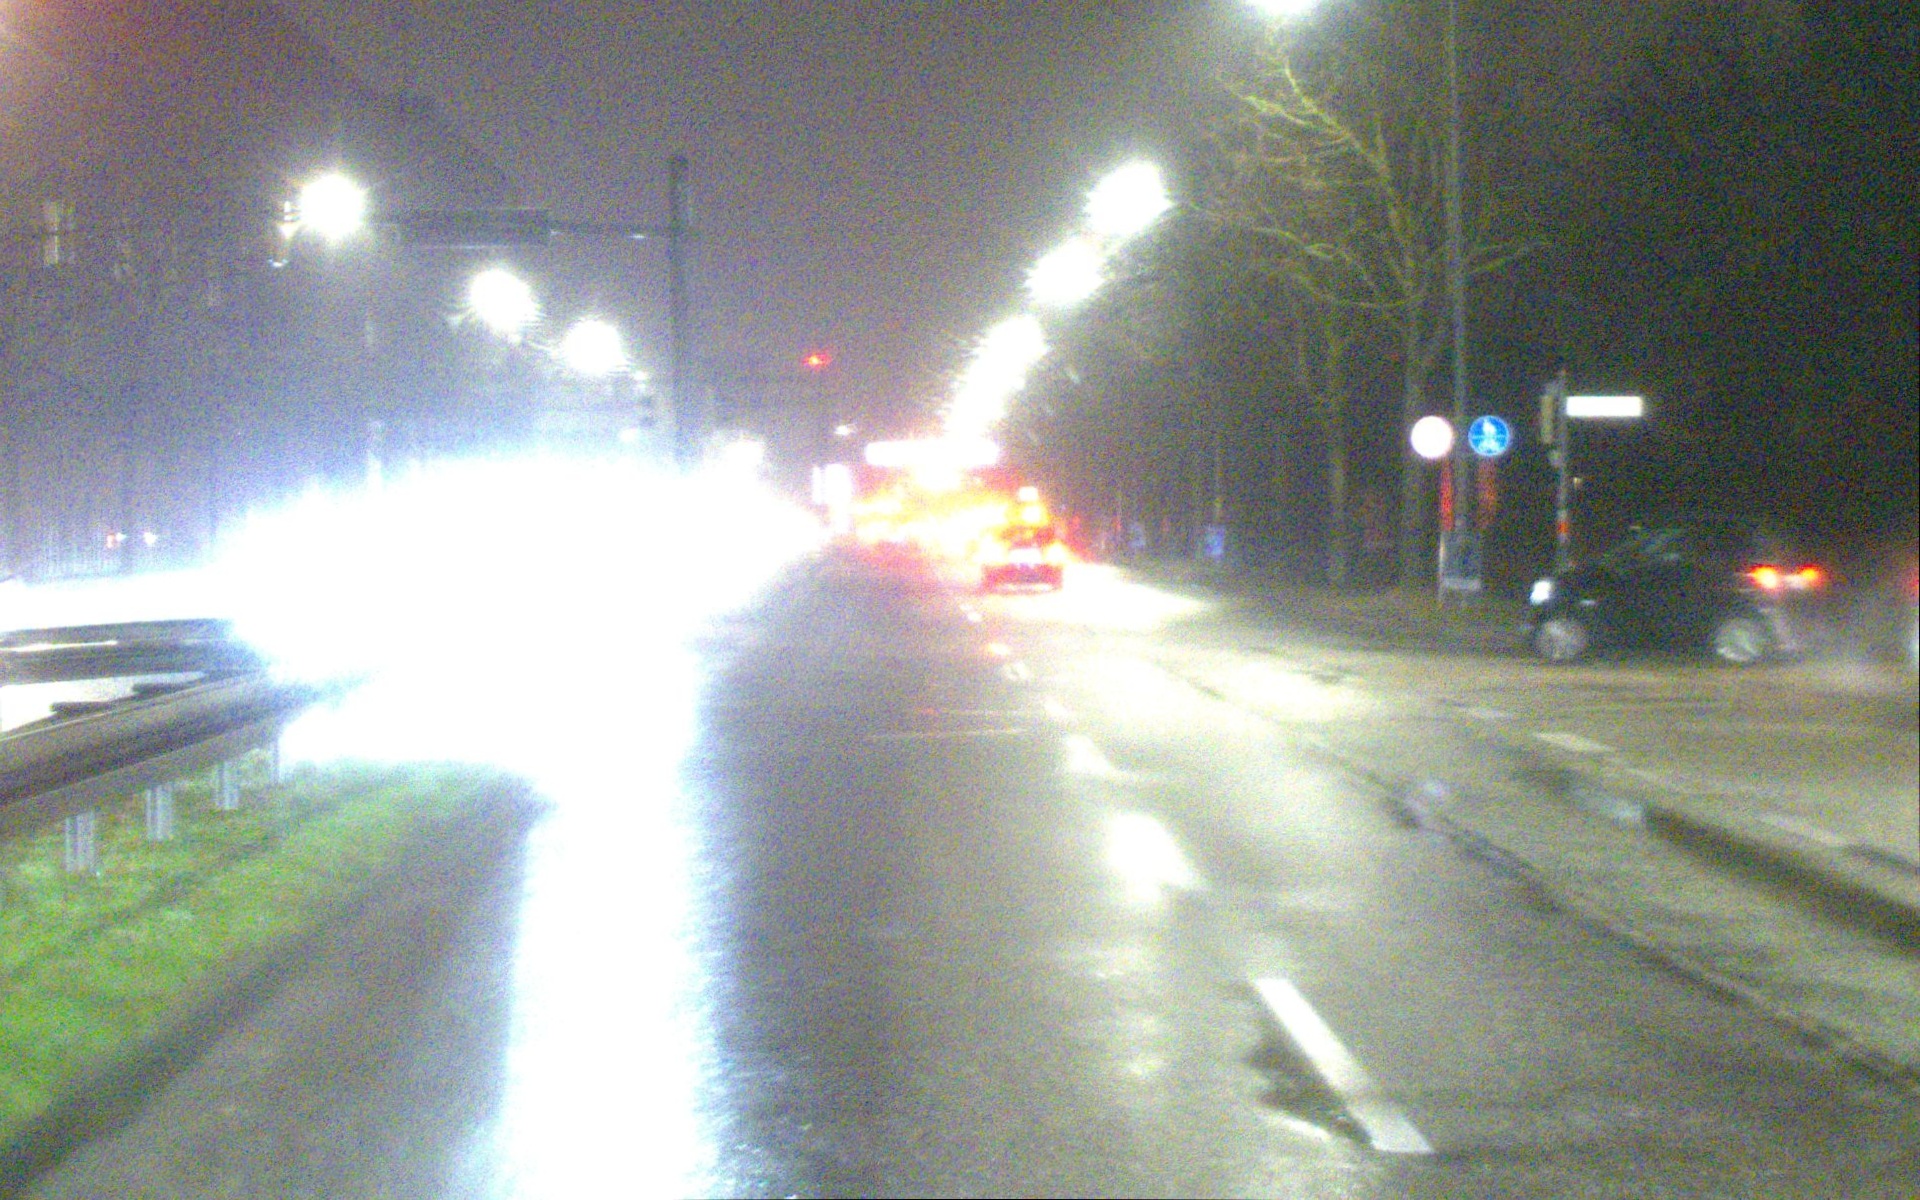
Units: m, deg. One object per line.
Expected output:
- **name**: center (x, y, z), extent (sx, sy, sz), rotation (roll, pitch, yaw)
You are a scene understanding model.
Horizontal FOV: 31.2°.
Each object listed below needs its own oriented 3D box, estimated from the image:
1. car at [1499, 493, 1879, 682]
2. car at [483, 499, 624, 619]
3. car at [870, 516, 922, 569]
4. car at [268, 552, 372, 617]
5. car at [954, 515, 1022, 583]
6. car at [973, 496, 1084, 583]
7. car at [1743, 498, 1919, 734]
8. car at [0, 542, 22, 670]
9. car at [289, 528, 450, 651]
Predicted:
- **car**: center (7.396, -0.138, 34.901), extent (3.423, 1.831, 1.684), rotation (0, 0, 30)
- **car**: center (-7.028, -0.715, 59.832), extent (1.993, 2.007, 4.000), rotation (-1, 1, -1)
- **car**: center (-2.480, -2.216, 133.561), extent (1.993, 2.007, 4.000), rotation (0, 0, -1)
- **car**: center (-15.986, -0.395, 86.112), extent (1.847, 1.585, 4.353), rotation (0, 0, -1)
- **car**: center (0.919, -1.688, 114.918), extent (2.208, 2.207, 3.643), rotation (0, 0, 0)
- **car**: center (1.404, -1.238, 72.176), extent (1.902, 1.774, 4.001), rotation (0, 0, -5)
- **car**: center (8.125, 0.112, 23.701), extent (4.962, 1.604, 1.997), rotation (0, 0, 29)
- **car**: center (-12.650, 0.101, 40.975), extent (1.770, 1.564, 4.331), rotation (-1, 1, -1)
- **car**: center (-9.114, -0.184, 53.335), extent (1.783, 1.809, 4.000), rotation (-1, 1, 0)
